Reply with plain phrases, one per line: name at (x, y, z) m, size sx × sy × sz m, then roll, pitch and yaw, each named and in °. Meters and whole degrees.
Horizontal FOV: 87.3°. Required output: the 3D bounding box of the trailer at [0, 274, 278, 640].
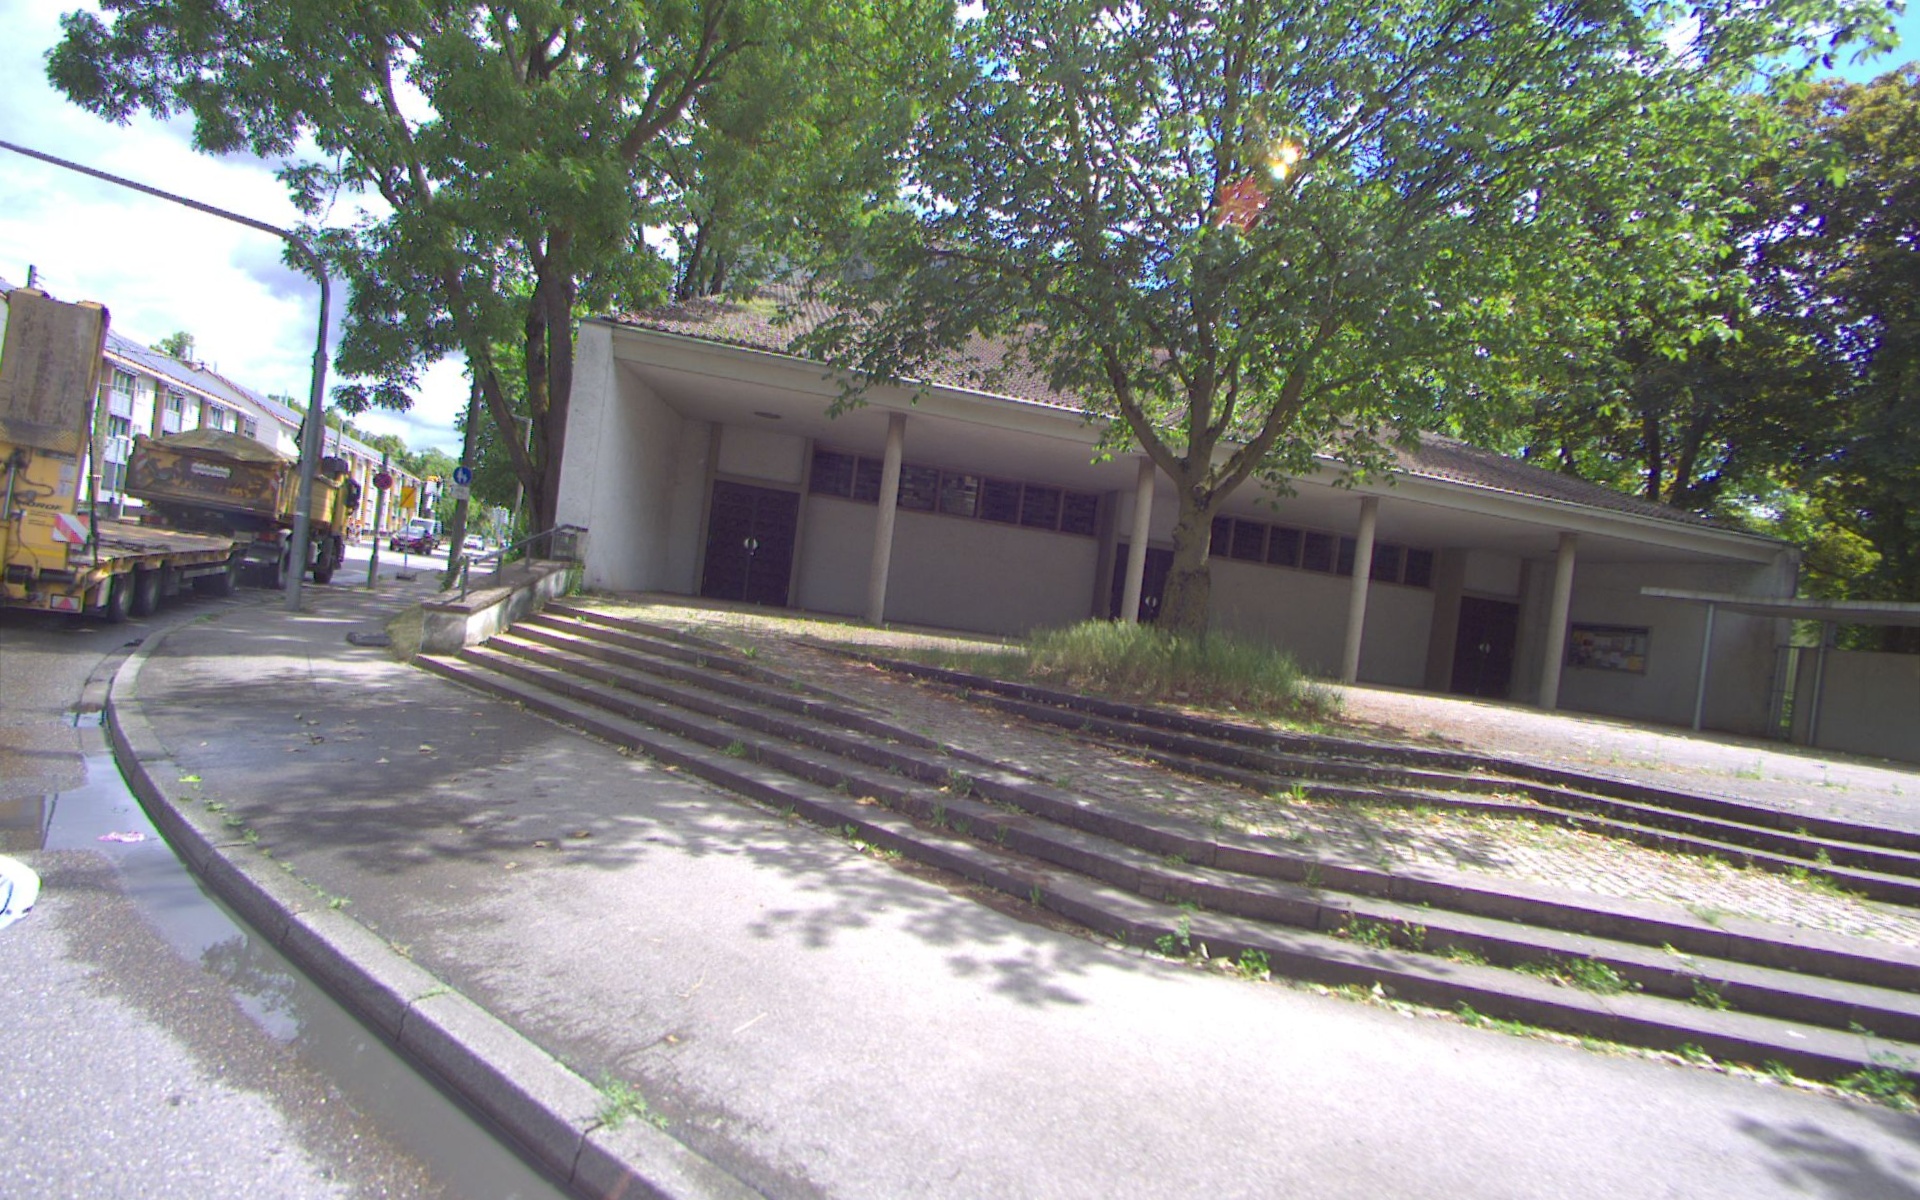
trailer at (-12.697, -1.809, 14.761) m, size 2.801 × 3.564 × 10.974 m, roll 9°, pitch -1°, yaw -28°

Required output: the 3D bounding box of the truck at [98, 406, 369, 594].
truck at (-16.379, -2.078, 23.448) m, size 2.889 × 3.204 × 7.641 m, roll 9°, pitch -1°, yaw -21°

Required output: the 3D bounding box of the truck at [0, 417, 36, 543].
truck at (-21.763, -2.771, 19.957) m, size 2.636 × 2.757 × 6.363 m, roll 9°, pitch -1°, yaw -21°

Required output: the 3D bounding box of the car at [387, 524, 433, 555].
car at (-34.190, -3.729, 62.669) m, size 1.823 × 1.638 × 4.221 m, roll 7°, pitch 0°, yaw -21°

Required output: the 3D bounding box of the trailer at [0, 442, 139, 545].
trailer at (-24.075, -2.777, 25.808) m, size 2.636 × 2.240 × 6.216 m, roll 9°, pitch -1°, yaw -21°

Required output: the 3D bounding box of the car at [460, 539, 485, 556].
car at (-52.978, -5.694, 109.357) m, size 1.858 × 1.499 × 4.508 m, roll 6°, pitch 0°, yaw -19°
